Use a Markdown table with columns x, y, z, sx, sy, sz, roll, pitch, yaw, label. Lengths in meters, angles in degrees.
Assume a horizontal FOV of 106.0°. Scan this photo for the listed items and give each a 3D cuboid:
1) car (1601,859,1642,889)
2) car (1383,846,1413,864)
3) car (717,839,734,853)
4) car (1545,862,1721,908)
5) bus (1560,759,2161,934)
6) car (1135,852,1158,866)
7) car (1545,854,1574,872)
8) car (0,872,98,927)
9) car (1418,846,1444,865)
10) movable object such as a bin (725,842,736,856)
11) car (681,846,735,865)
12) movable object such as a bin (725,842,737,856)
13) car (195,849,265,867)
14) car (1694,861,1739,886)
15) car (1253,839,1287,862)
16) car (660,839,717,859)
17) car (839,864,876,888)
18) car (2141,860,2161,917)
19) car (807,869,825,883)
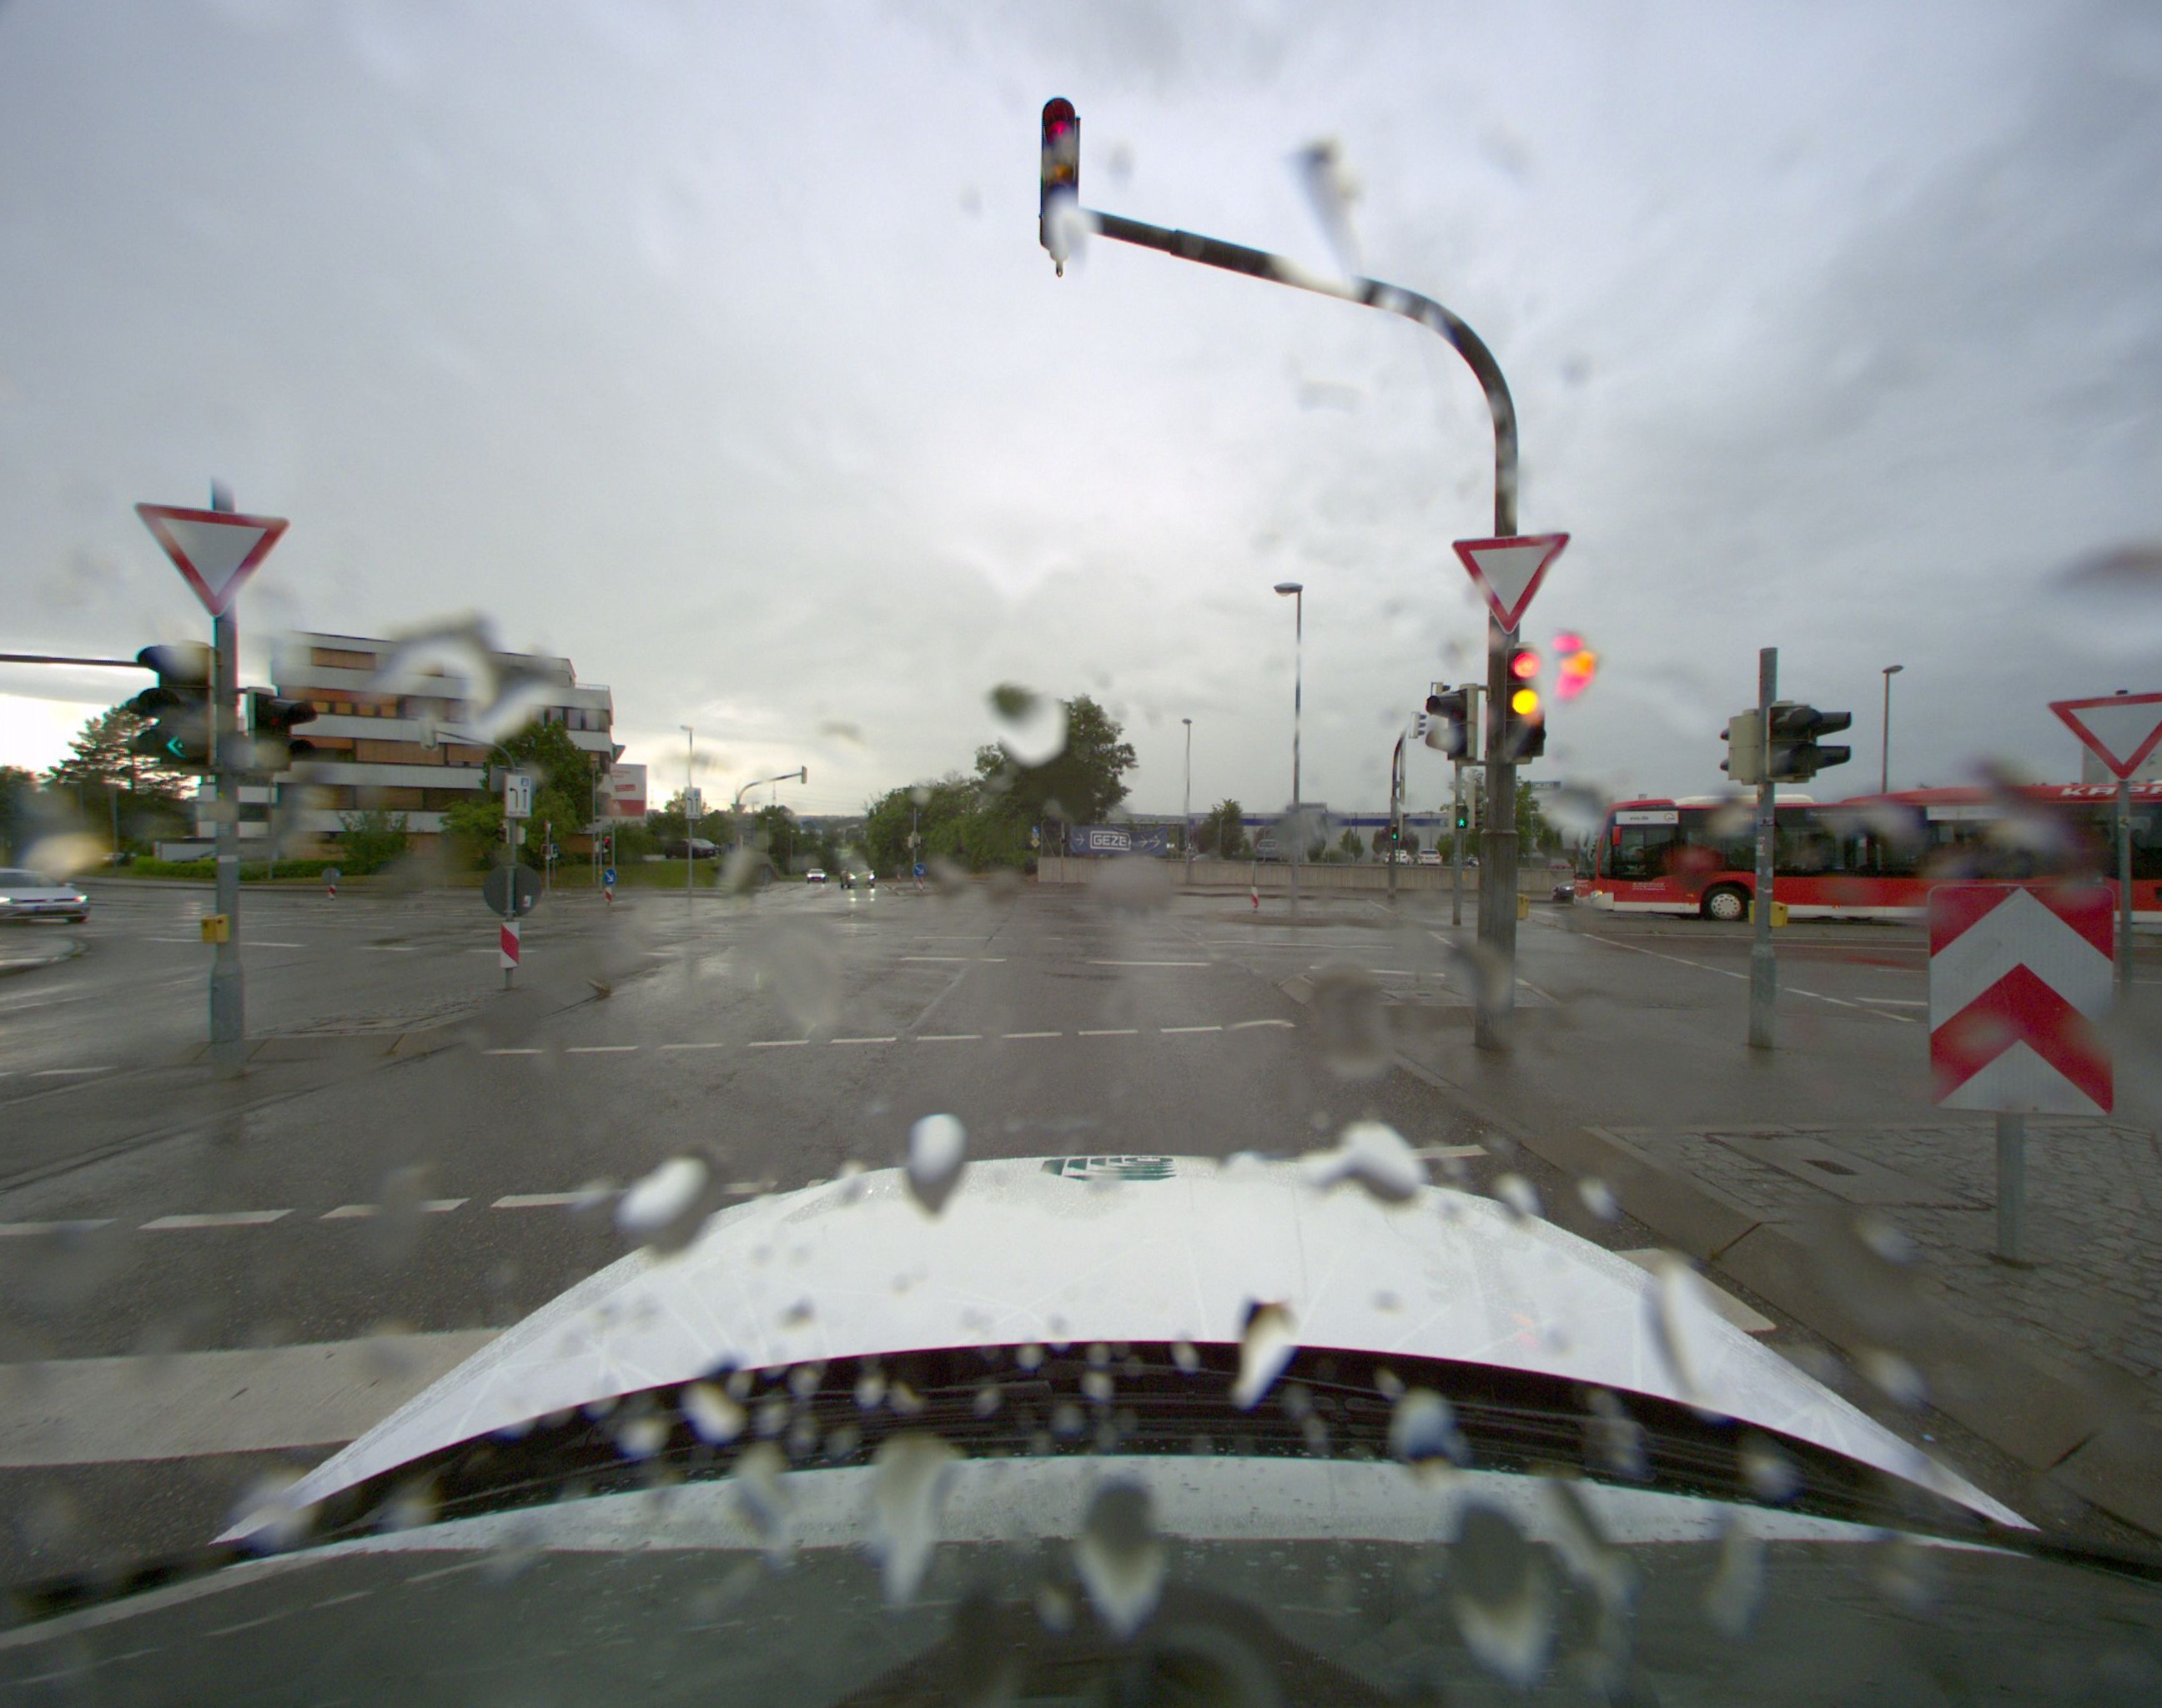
| x | y | z | sx | sy | sz | roll | pitch | yaw | label |
| --- | --- | --- | --- | --- | --- | --- | --- | --- | --- |
| 38.019 | 1.373 | 57.392 | 1.727 | 2.014 | 3.844 | -1 | -1 | 23 | car |
| 26.467 | 0.119 | 67.890 | 1.800 | 1.434 | 4.128 | -1 | -1 | 28 | car |
| -42.546 | -0.939 | 97.391 | 1.836 | 1.442 | 3.967 | 1 | -2 | -25 | car |
| 17.575 | 0.938 | 26.160 | 4.344 | 1.354 | 1.834 | 0 | 0 | 18 | car |
| 18.654 | -0.262 | 19.350 | 12.152 | 3.576 | 3.001 | 2 | 0 | 19 | bus |
| 7.761 | 0.591 | 95.908 | 1.651 | 1.606 | 3.550 | -1 | -1 | 23 | car |
| 42.537 | 0.775 | 72.476 | 1.905 | 1.589 | 3.811 | 0 | 0 | 25 | car |
| -28.821 | 1.176 | 21.800 | 4.479 | 1.363 | 1.771 | -1 | -1 | 20 | car |
| 28.895 | 0.141 | 67.200 | 1.841 | 1.526 | 4.127 | -1 | -1 | 25 | car |
| -37.797 | -0.514 | 87.788 | 1.089 | 1.437 | 1.434 | 1 | -3 | -25 | movable object such as a bin |
| -33.047 | 0.150 | 72.218 | 3.958 | 1.586 | 1.909 | 0 | -2 | 14 | car |
| -38.369 | -0.499 | 89.237 | 1.089 | 1.437 | 1.434 | 1 | -3 | -25 | movable object such as a bin |
| -70.097 | 0.328 | 67.160 | 3.779 | 1.399 | 1.977 | 0 | 0 | -40 | car |
| 52.564 | 1.585 | 67.441 | 1.976 | 2.014 | 4.022 | -1 | -1 | 24 | car |
| 13.347 | -0.235 | 57.290 | 1.727 | 1.553 | 3.550 | -1 | -1 | 23 | car |
| -33.433 | -0.425 | 69.357 | 3.962 | 1.586 | 1.907 | 0 | -2 | 10 | car |
| -14.526 | 1.430 | 52.767 | 1.669 | 1.494 | 3.967 | 0 | -1 | -25 | car |
| 31.648 | 0.956 | 21.412 | 4.344 | 1.538 | 1.834 | 0 | 0 | 18 | car |
| -28.239 | 2.303 | 86.836 | 1.723 | 1.494 | 3.978 | 0 | -1 | -16 | car |
